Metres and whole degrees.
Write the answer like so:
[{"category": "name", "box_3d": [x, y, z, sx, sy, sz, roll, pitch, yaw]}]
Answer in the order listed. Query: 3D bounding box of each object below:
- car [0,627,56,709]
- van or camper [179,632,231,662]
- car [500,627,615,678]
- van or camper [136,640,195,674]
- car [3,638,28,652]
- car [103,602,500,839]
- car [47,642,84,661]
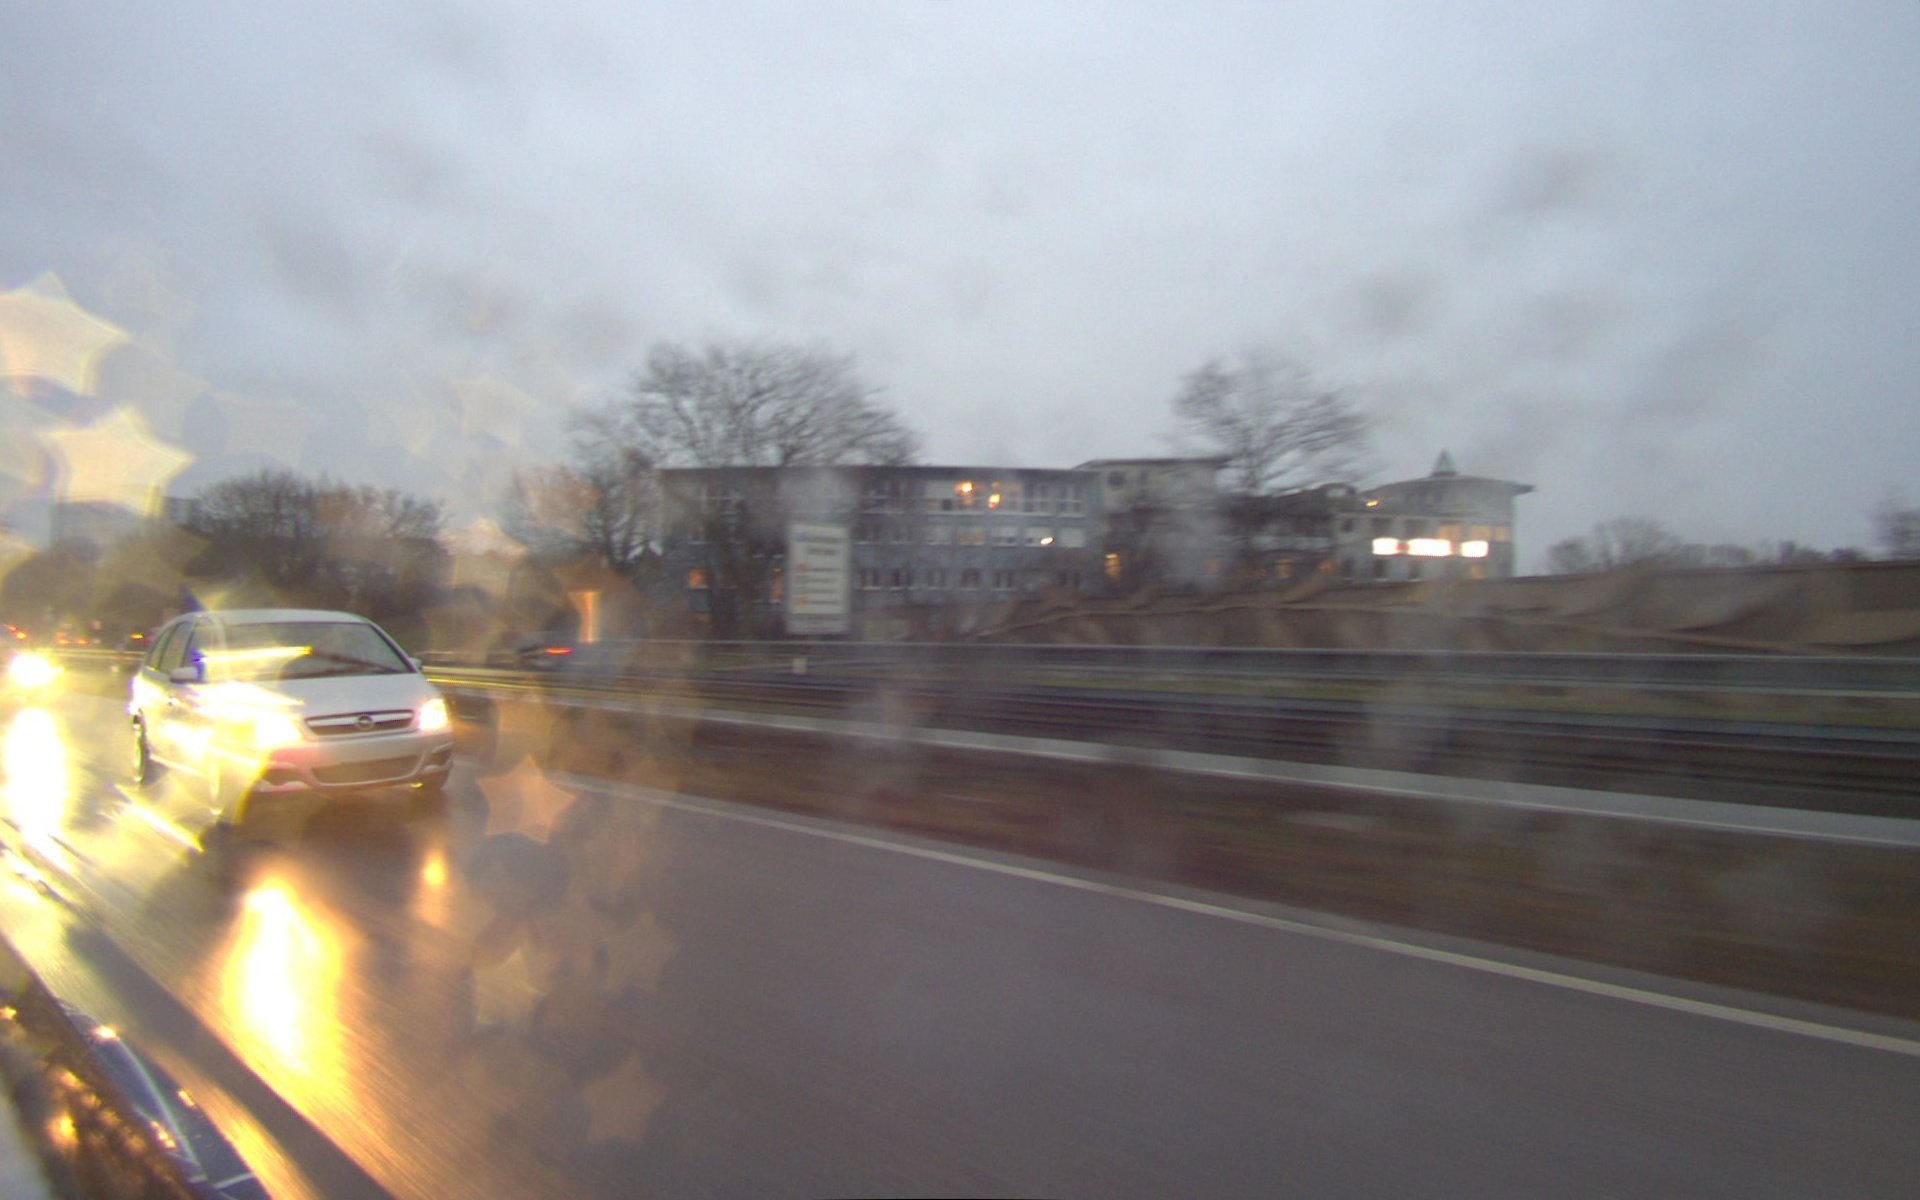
[{"category": "car", "box_3d": [-19.885, 1.322, 20.290, 4.141, 1.542, 2.001, -1, -2, 39]}, {"category": "van or camper", "box_3d": [-46.405, 2.833, 62.180, 4.883, 1.749, 1.742, -2, -1, 43]}, {"category": "car", "box_3d": [-12.106, 1.541, 30.335, 3.637, 1.420, 1.737, -2, -2, 41]}, {"category": "van or camper", "box_3d": [-37.806, 2.665, 48.121, 4.433, 1.493, 1.510, -2, -1, 43]}, {"category": "car", "box_3d": [-119.114, 5.697, 127.641, 4.678, 1.621, 1.765, -1, -2, 40]}, {"category": "car", "box_3d": [-5.911, 0.859, 8.897, 4.161, 1.611, 1.744, -1, -2, 39]}, {"category": "car", "box_3d": [-77.071, 4.419, 87.202, 4.048, 1.545, 1.766, -1, -2, 39]}]
